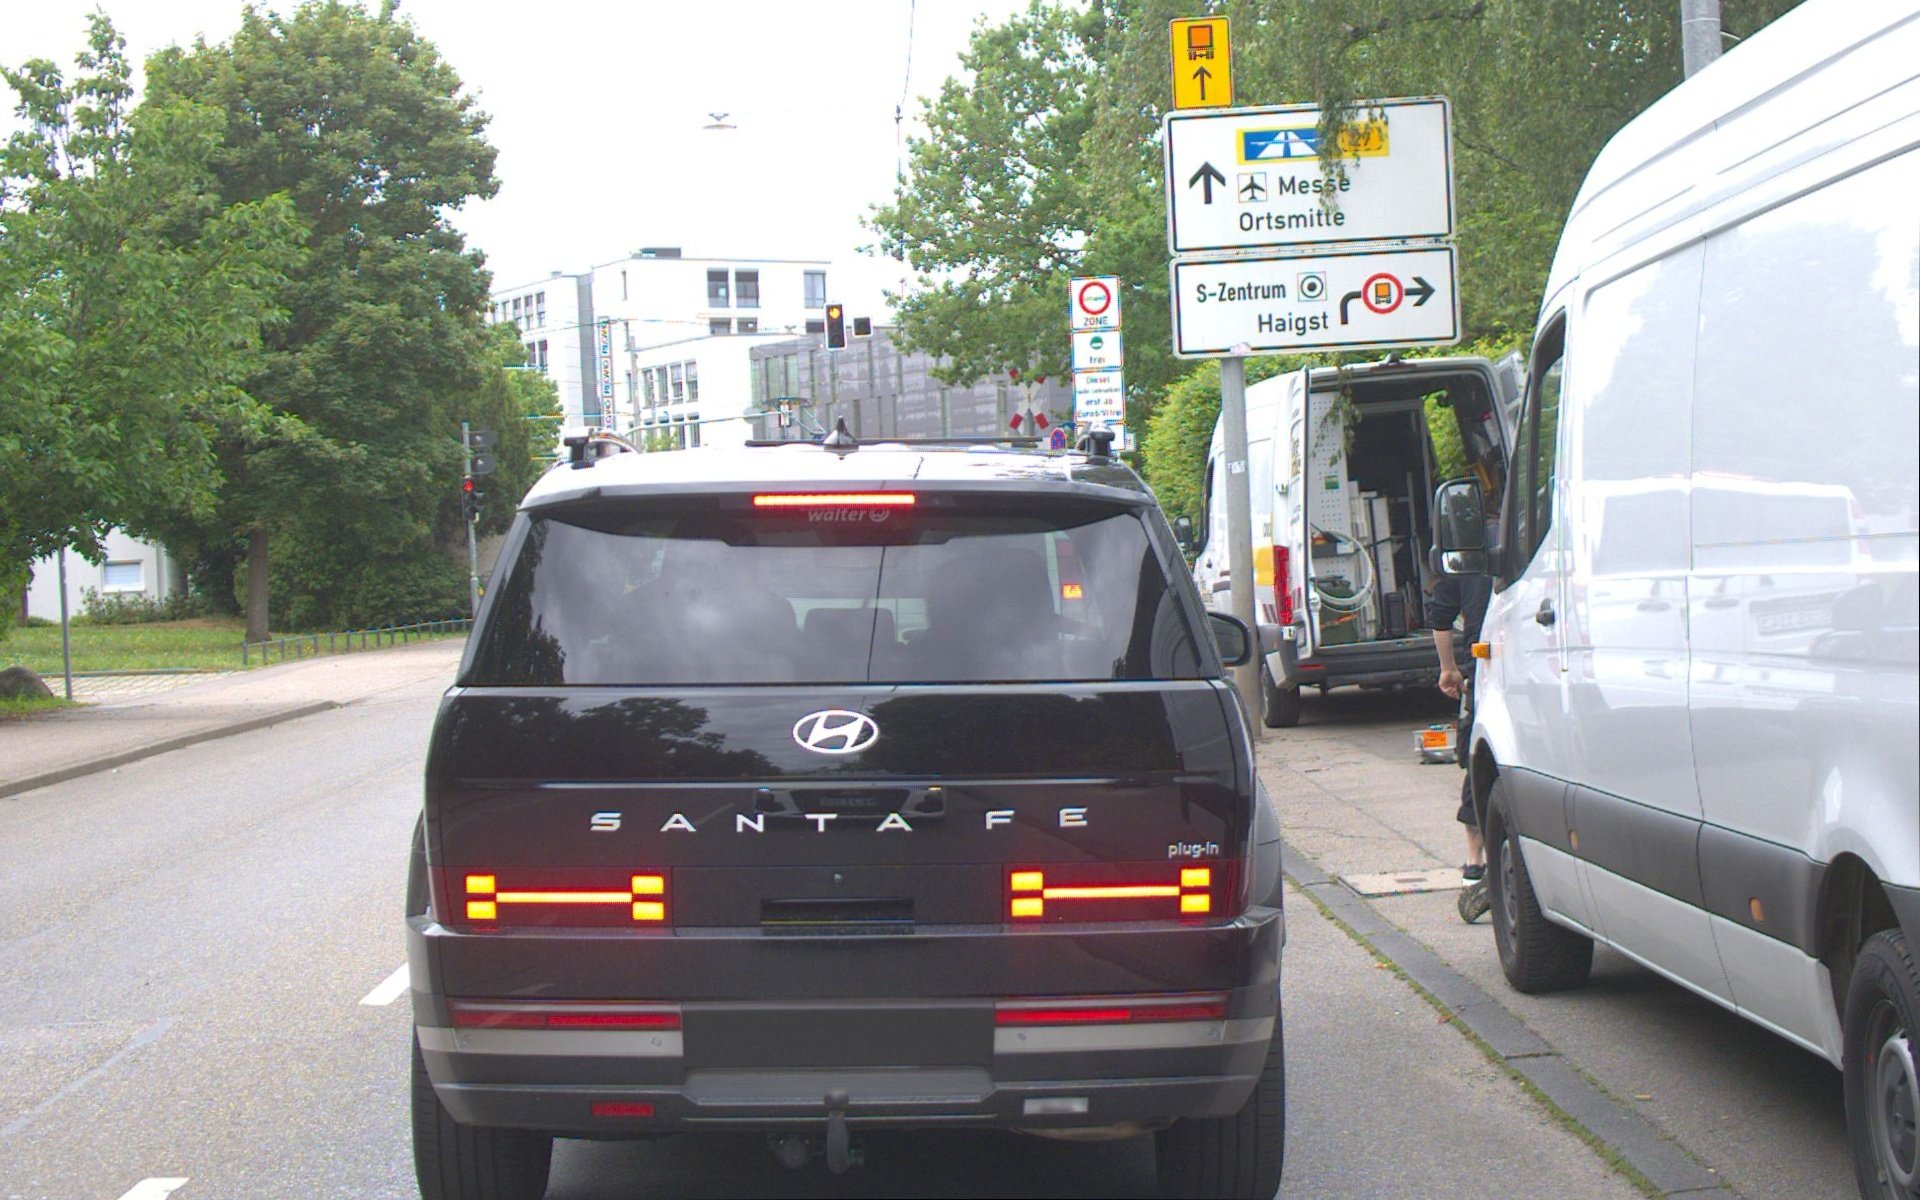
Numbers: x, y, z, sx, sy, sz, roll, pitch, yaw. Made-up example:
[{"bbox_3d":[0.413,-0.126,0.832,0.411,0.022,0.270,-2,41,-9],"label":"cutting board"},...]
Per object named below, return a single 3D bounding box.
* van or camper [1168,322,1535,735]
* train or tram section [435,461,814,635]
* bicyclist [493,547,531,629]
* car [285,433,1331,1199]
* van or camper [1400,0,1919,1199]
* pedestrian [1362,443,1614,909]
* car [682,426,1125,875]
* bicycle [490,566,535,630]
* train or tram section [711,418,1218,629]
[{"bbox_3d":[2.922,-0.549,26.891,1.963,2.787,5.287,-4,1,-1],"label":"van or camper"},{"bbox_3d":[-10.252,-1.324,101.042,3.193,4.507,18.683,0,-1,-31],"label":"train or tram section"},{"bbox_3d":[-9.125,-0.242,69.980,0.675,1.653,0.859,-1,-1,-13],"label":"bicyclist"},{"bbox_3d":[-0.332,0.517,8.537,1.963,1.705,4.000,-1,1,-1],"label":"car"},{"bbox_3d":[2.587,-0.065,8.065,1.963,2.619,6.359,-4,1,-1],"label":"van or camper"},{"bbox_3d":[2.066,0.289,13.489,0.617,1.737,0.605,-5,1,-20],"label":"pedestrian"},{"bbox_3d":[-0.302,0.194,17.496,1.963,1.994,4.000,-1,1,-1],"label":"car"},{"bbox_3d":[-9.118,-0.029,69.949,0.675,1.275,2.501,-1,-1,-13],"label":"bicycle"},{"bbox_3d":[-0.425,-1.646,85.108,3.193,4.507,18.683,0,-1,-31],"label":"train or tram section"}]
